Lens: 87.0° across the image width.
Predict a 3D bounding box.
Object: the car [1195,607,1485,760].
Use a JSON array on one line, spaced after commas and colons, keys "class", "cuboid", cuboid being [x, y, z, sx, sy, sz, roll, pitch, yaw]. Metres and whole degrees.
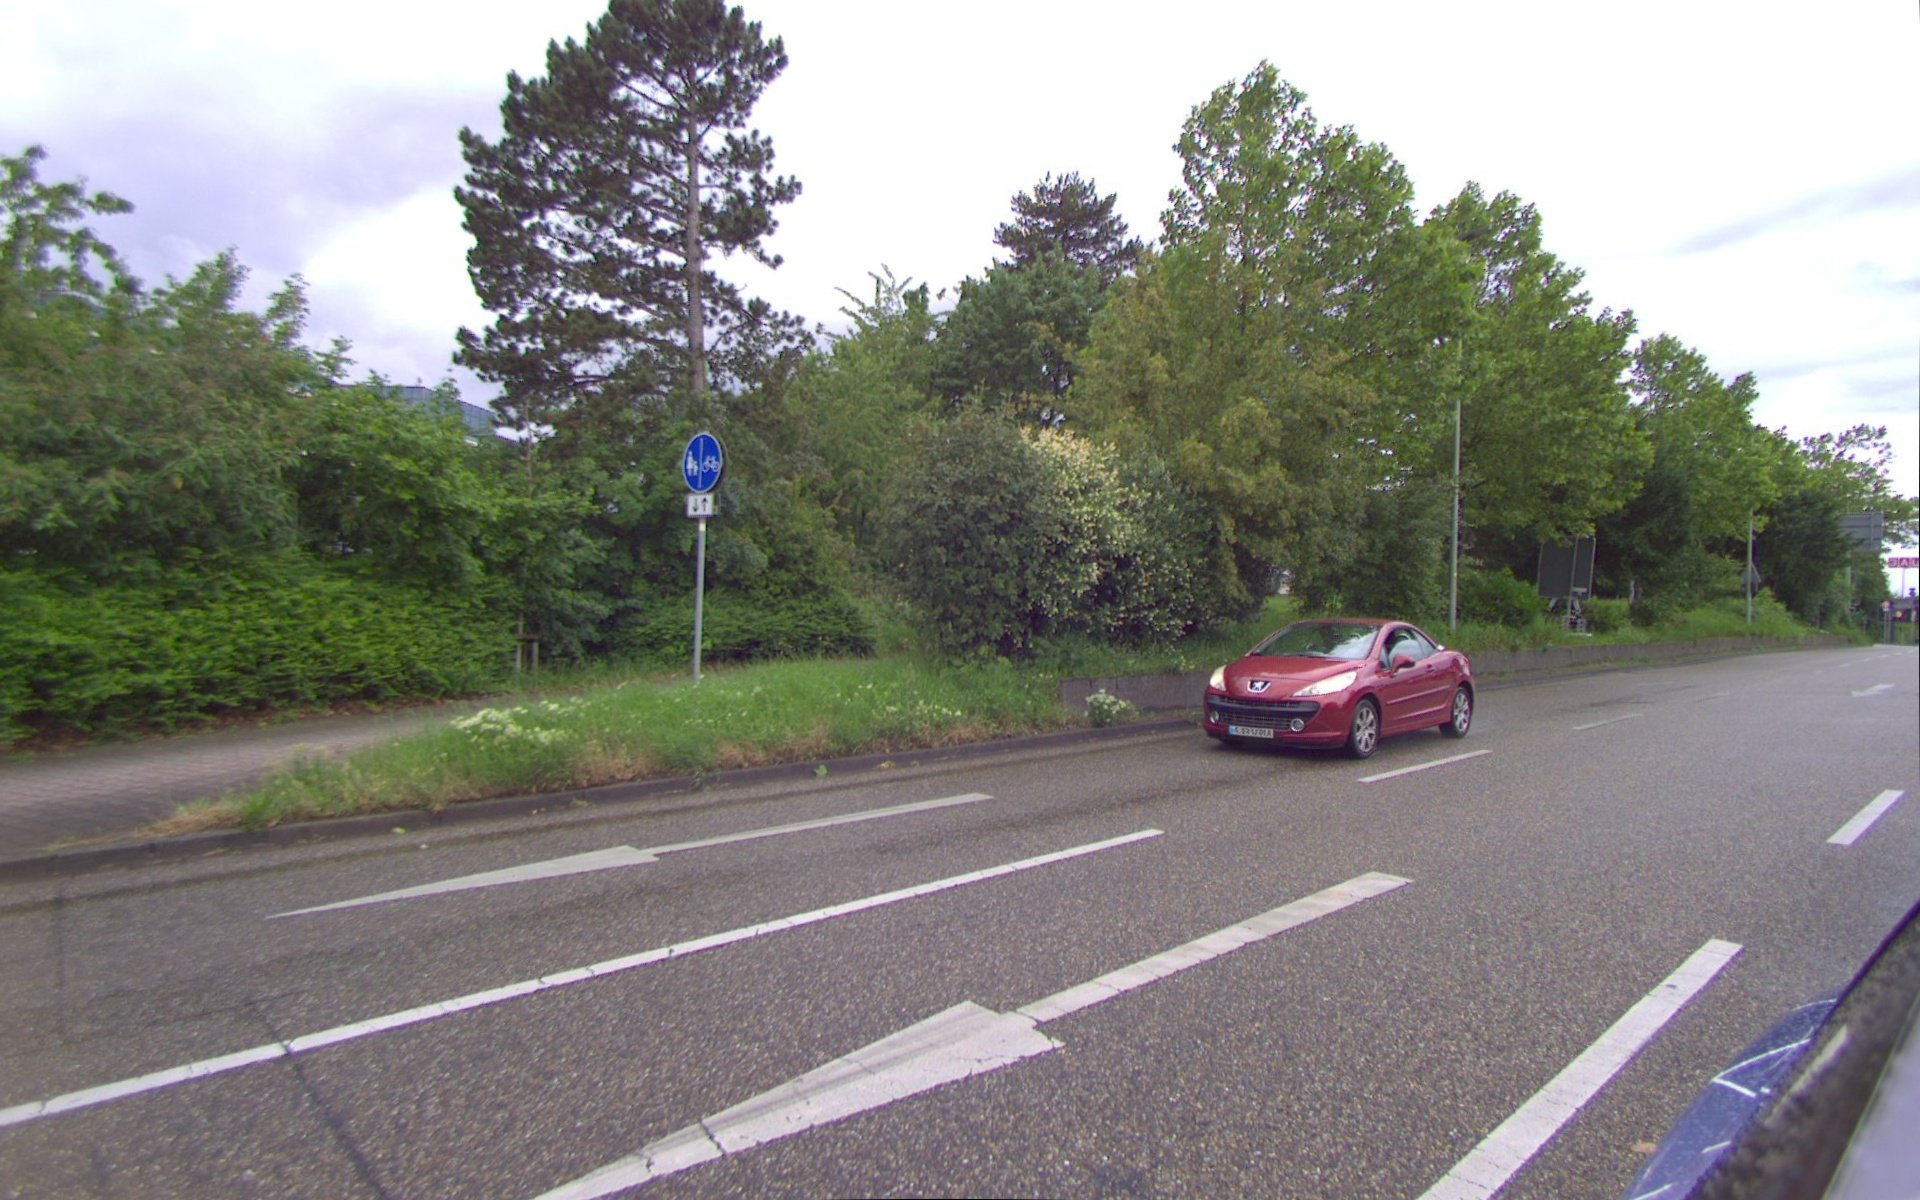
[{"class": "car", "cuboid": [4.377, 0.807, 11.419, 3.627, 1.421, 1.627, 0, 0, -43]}]
